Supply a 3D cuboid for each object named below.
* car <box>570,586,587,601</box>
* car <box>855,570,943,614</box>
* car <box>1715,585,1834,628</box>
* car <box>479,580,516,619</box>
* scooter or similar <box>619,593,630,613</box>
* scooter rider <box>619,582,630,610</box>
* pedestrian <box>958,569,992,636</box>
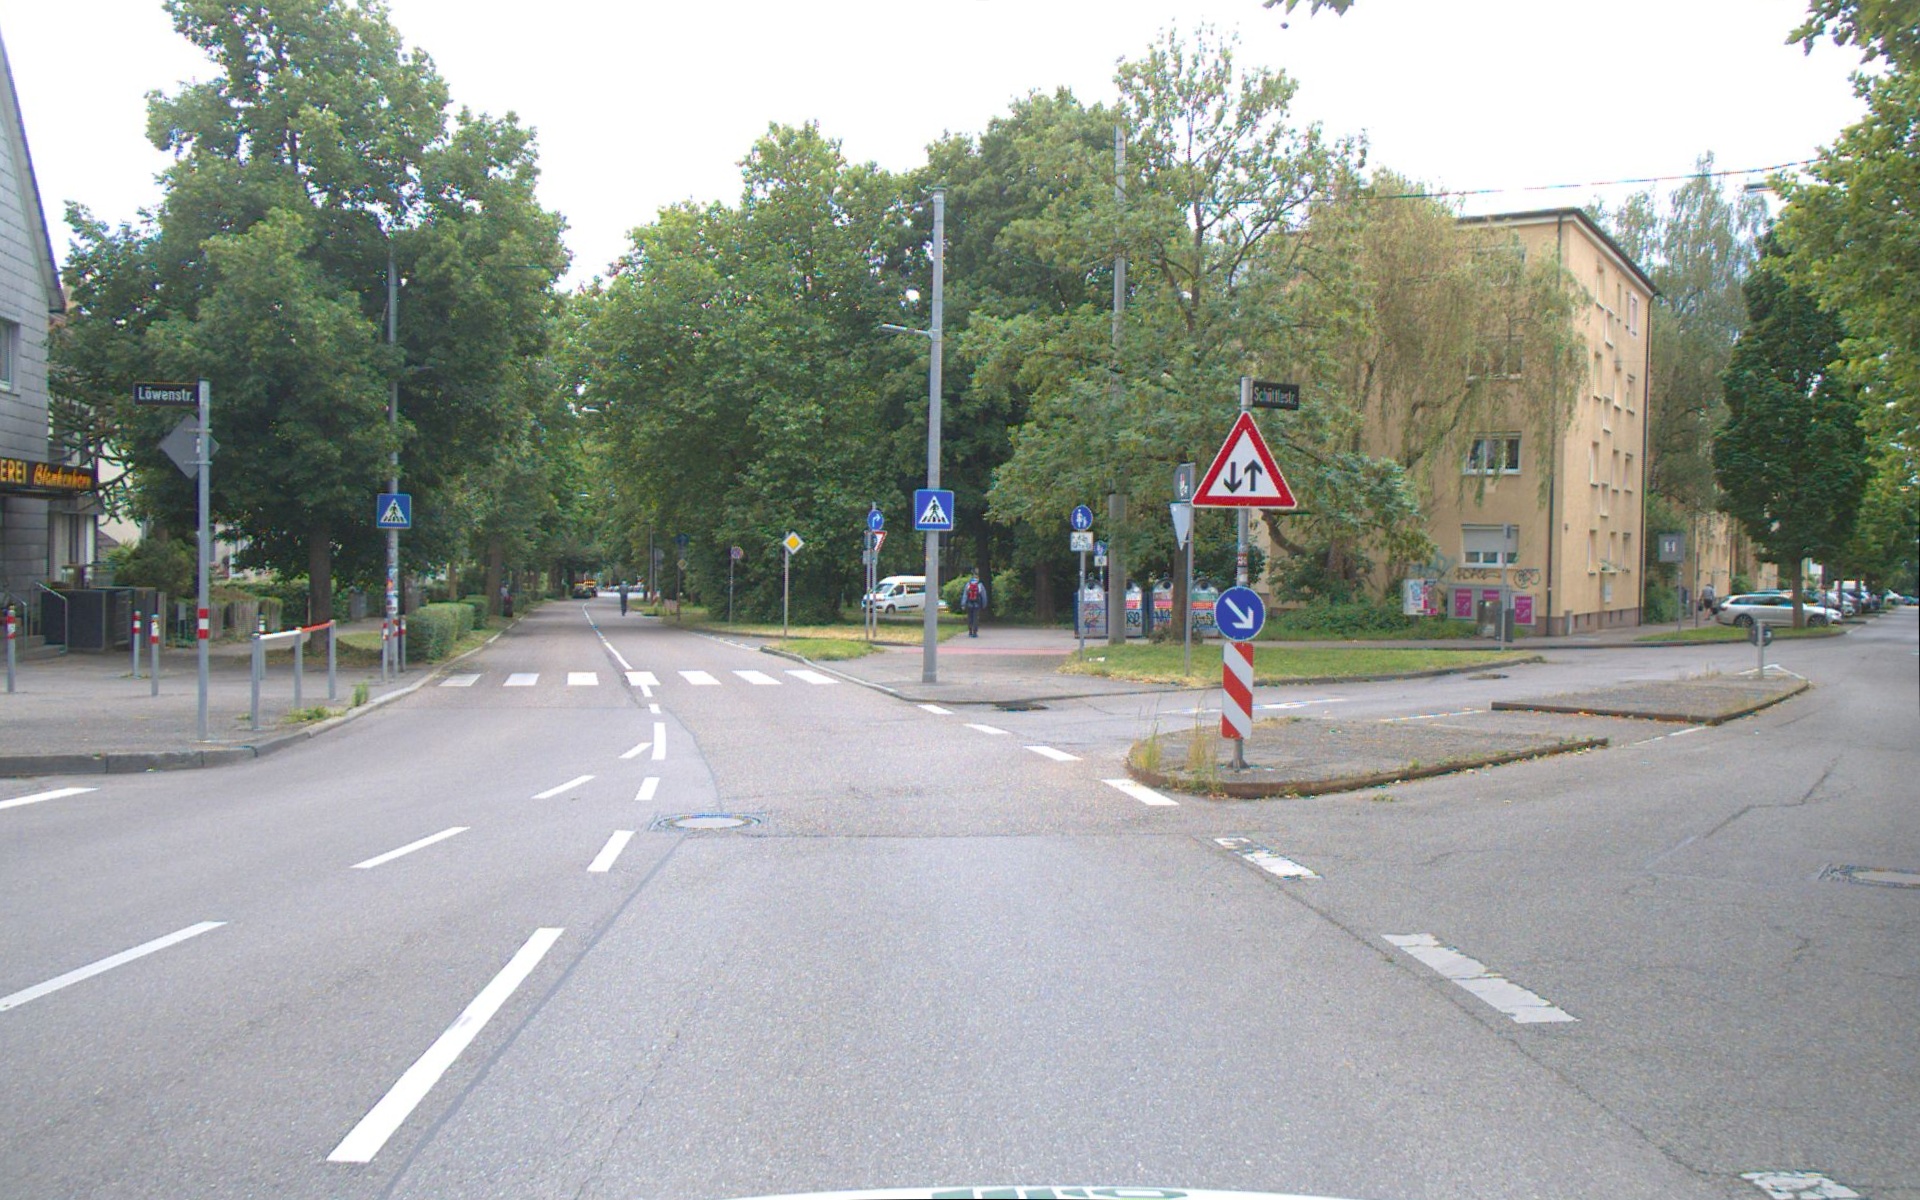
[{"bbox_3d":[-43.592,-0.740,189.067,1.803,1.524,3.643,3,1,-14],"label":"car"},{"bbox_3d":[-3.642,-0.459,99.169,2.100,2.337,5.354,4,1,41],"label":"car"},{"bbox_3d":[32.483,0.269,66.009,4.116,1.604,1.814,-2,-2,30],"label":"car"},{"bbox_3d":[-23.331,-0.058,83.331,1.617,1.754,3.782,3,1,-17],"label":"car"},{"bbox_3d":[-18.756,0.144,92.447,0.590,1.073,0.871,0,2,-11],"label":"scooter or similar"},{"bbox_3d":[-18.789,-0.226,92.585,0.590,1.579,0.565,0,2,-11],"label":"scooter rider"},{"bbox_3d":[0.438,0.071,49.744,0.905,1.903,1.019,-3,3,-1],"label":"pedestrian"}]
